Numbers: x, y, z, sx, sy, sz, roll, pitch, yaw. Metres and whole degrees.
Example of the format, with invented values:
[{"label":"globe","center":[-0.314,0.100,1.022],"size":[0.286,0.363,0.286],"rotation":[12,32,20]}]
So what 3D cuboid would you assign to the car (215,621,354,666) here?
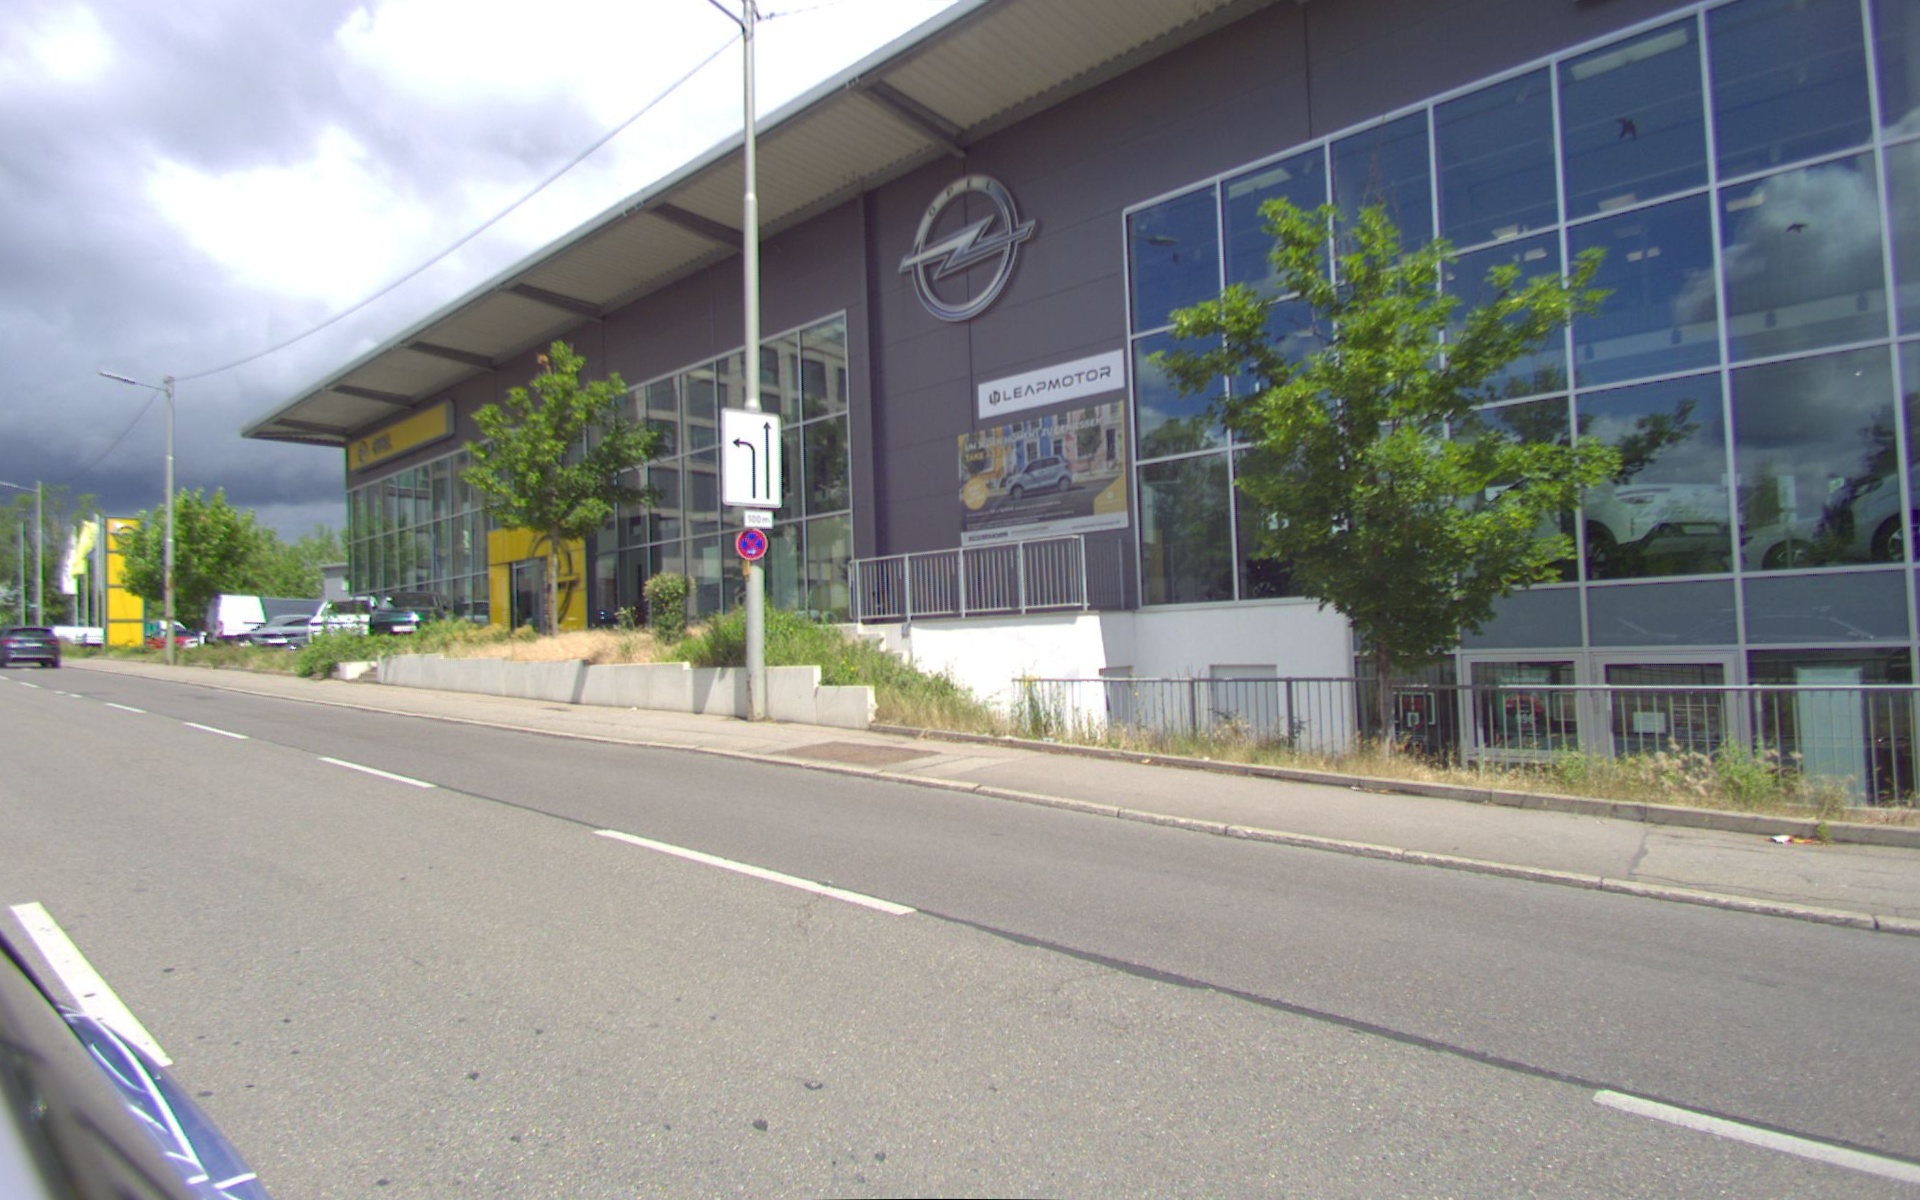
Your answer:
[{"label":"car","center":[-25.733,1.639,38.690],"size":[1.792,1.625,4.064],"rotation":[-2,-2,32]}]

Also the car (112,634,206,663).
[{"label":"car","center":[-42.019,2.524,53.116],"size":[1.814,1.420,3.621],"rotation":[-2,-2,42]}]

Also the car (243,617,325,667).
[{"label":"car","center":[-23.436,1.446,35.211],"size":[1.767,1.625,4.122],"rotation":[1,-2,-26]}]

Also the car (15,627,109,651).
[{"label":"car","center":[-57.629,2.490,65.012],"size":[2.093,1.493,4.200],"rotation":[-2,-2,38]}]

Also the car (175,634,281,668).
[{"label":"car","center":[-35.526,2.444,49.180],"size":[1.559,1.539,3.897],"rotation":[-2,-2,38]}]

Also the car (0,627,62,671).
[{"label":"car","center":[-35.539,1.823,38.466],"size":[3.958,1.533,1.739],"rotation":[-1,-2,43]}]

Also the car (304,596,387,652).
[{"label":"car","center":[-19.263,0.746,31.882],"size":[1.767,1.625,4.122],"rotation":[0,-1,-25]}]

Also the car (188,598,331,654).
[{"label":"car","center":[-29.113,1.061,42.171],"size":[2.177,2.211,4.475],"rotation":[-1,-1,39]}]

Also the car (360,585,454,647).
[{"label":"car","center":[-15.646,0.487,28.809],"size":[1.790,1.625,4.122],"rotation":[0,-2,-21]}]

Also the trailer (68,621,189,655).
[{"label":"trailer","center":[-45.324,2.064,55.244],"size":[2.092,1.765,4.776],"rotation":[-2,-2,37]}]
